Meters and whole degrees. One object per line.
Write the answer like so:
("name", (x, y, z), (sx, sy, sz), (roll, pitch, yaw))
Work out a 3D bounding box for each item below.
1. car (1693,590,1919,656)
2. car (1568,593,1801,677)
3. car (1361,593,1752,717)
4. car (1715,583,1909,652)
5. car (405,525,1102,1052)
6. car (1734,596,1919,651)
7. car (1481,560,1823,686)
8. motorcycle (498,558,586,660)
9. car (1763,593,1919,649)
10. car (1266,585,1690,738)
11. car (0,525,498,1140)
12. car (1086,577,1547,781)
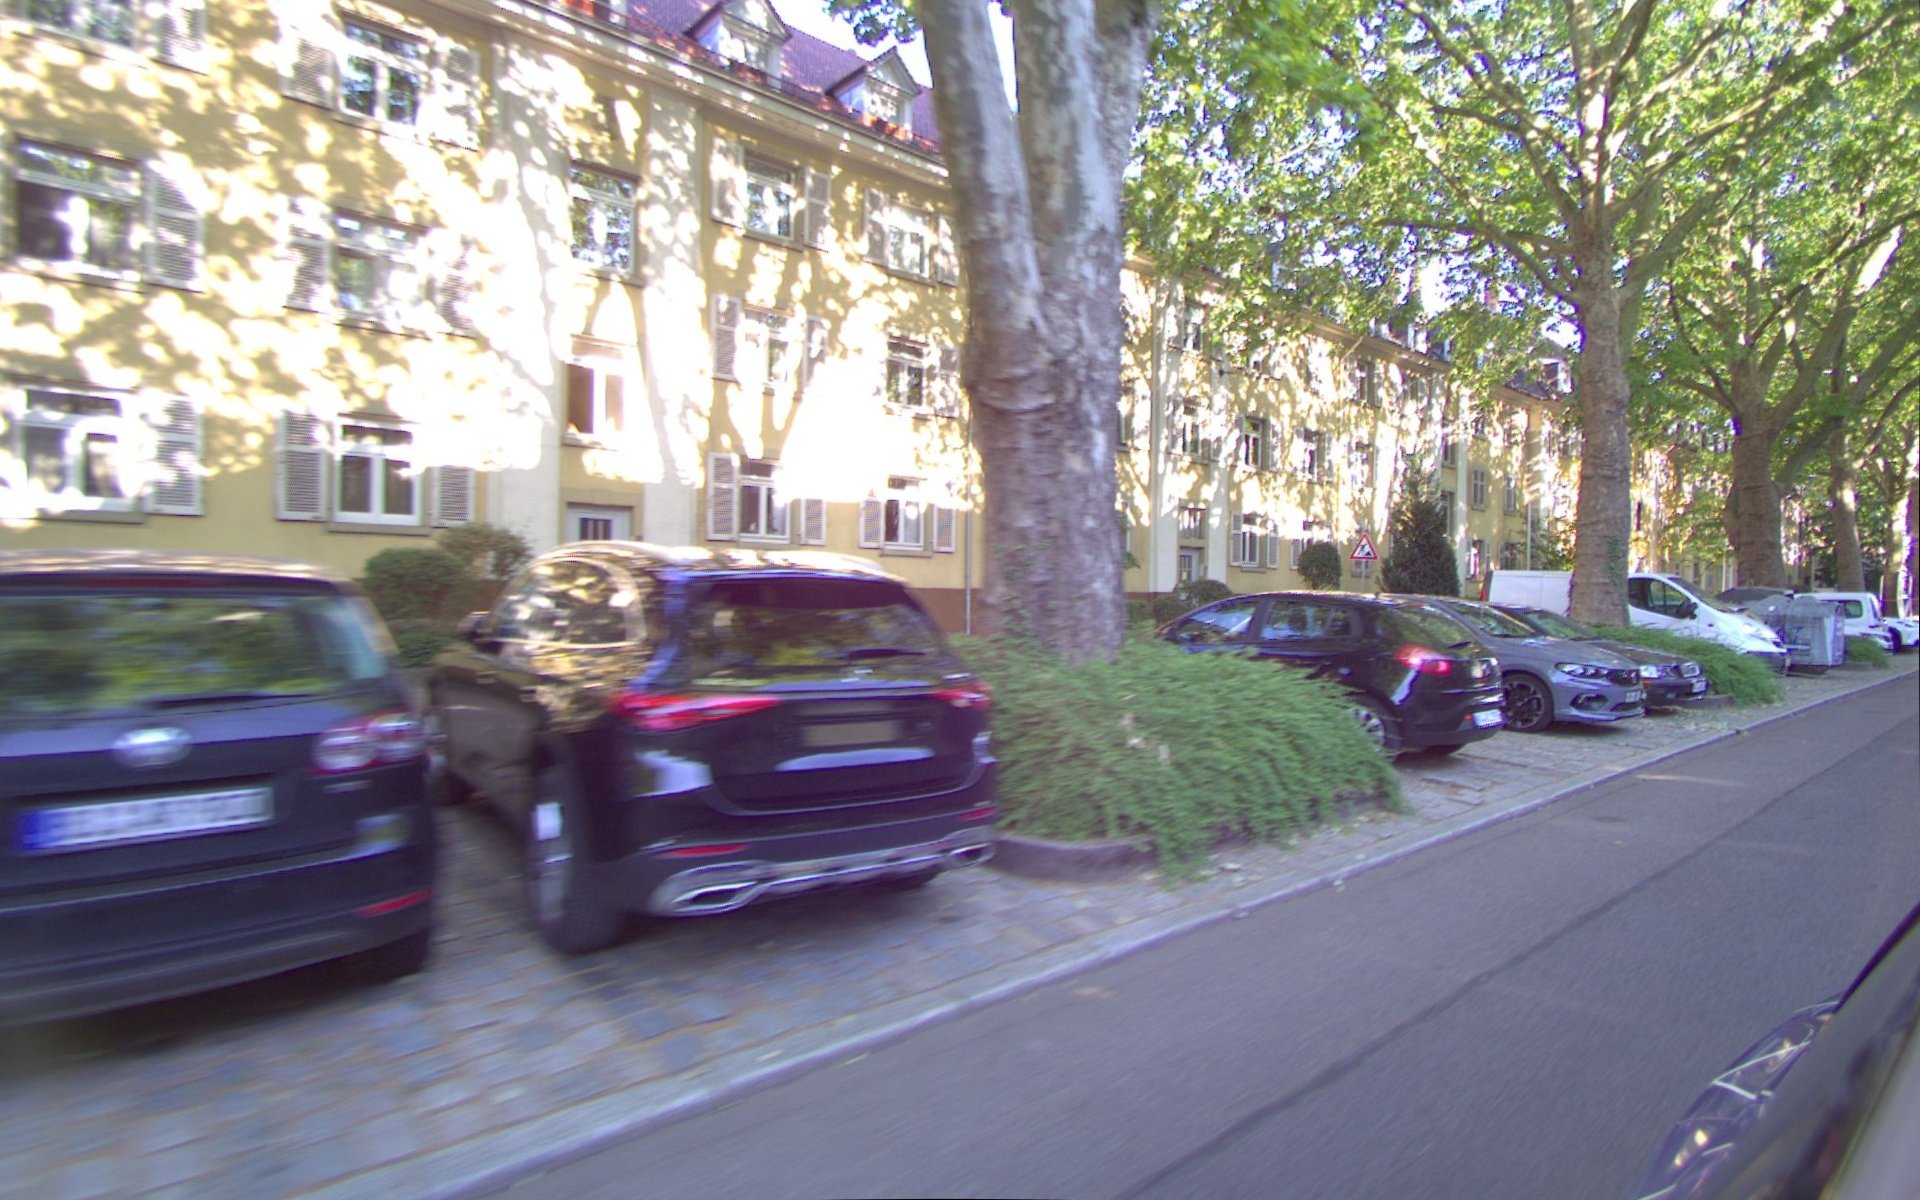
("car", (22.457, 0.568, 26.982), (1.767, 1.561, 4.384), (1, 0, -36))
("car", (14.373, 0.619, 20.202), (1.645, 1.464, 3.530), (0, 1, -43))
("car", (8.170, 0.631, 14.264), (1.770, 1.397, 4.410), (0, 1, -36))
("car", (23.929, 0.435, 28.536), (1.881, 1.794, 3.856), (0, 1, -36))
("car", (-1.552, 0.466, 5.508), (1.989, 1.621, 4.511), (0, 3, -36))
("car", (25.414, 0.642, 29.761), (1.817, 1.451, 3.856), (0, 1, -36))
("car", (12.475, 0.316, 18.510), (2.030, 1.988, 4.842), (0, 1, -42))
("motorcycle", (-6.337, 0.107, 15.282), (0.612, 1.377, 1.806), (0, 4, -43))
("car", (27.358, 0.593, 30.989), (1.883, 1.540, 4.094), (-1, 1, -41))
("car", (6.155, 0.597, 12.432), (1.864, 1.502, 4.255), (0, 1, -40))
("car", (-3.341, 0.550, 4.212), (1.745, 1.566, 3.687), (0, 1, -38))
("car", (3.207, 0.566, 9.685), (1.680, 1.528, 3.845), (0, 1, -41))
